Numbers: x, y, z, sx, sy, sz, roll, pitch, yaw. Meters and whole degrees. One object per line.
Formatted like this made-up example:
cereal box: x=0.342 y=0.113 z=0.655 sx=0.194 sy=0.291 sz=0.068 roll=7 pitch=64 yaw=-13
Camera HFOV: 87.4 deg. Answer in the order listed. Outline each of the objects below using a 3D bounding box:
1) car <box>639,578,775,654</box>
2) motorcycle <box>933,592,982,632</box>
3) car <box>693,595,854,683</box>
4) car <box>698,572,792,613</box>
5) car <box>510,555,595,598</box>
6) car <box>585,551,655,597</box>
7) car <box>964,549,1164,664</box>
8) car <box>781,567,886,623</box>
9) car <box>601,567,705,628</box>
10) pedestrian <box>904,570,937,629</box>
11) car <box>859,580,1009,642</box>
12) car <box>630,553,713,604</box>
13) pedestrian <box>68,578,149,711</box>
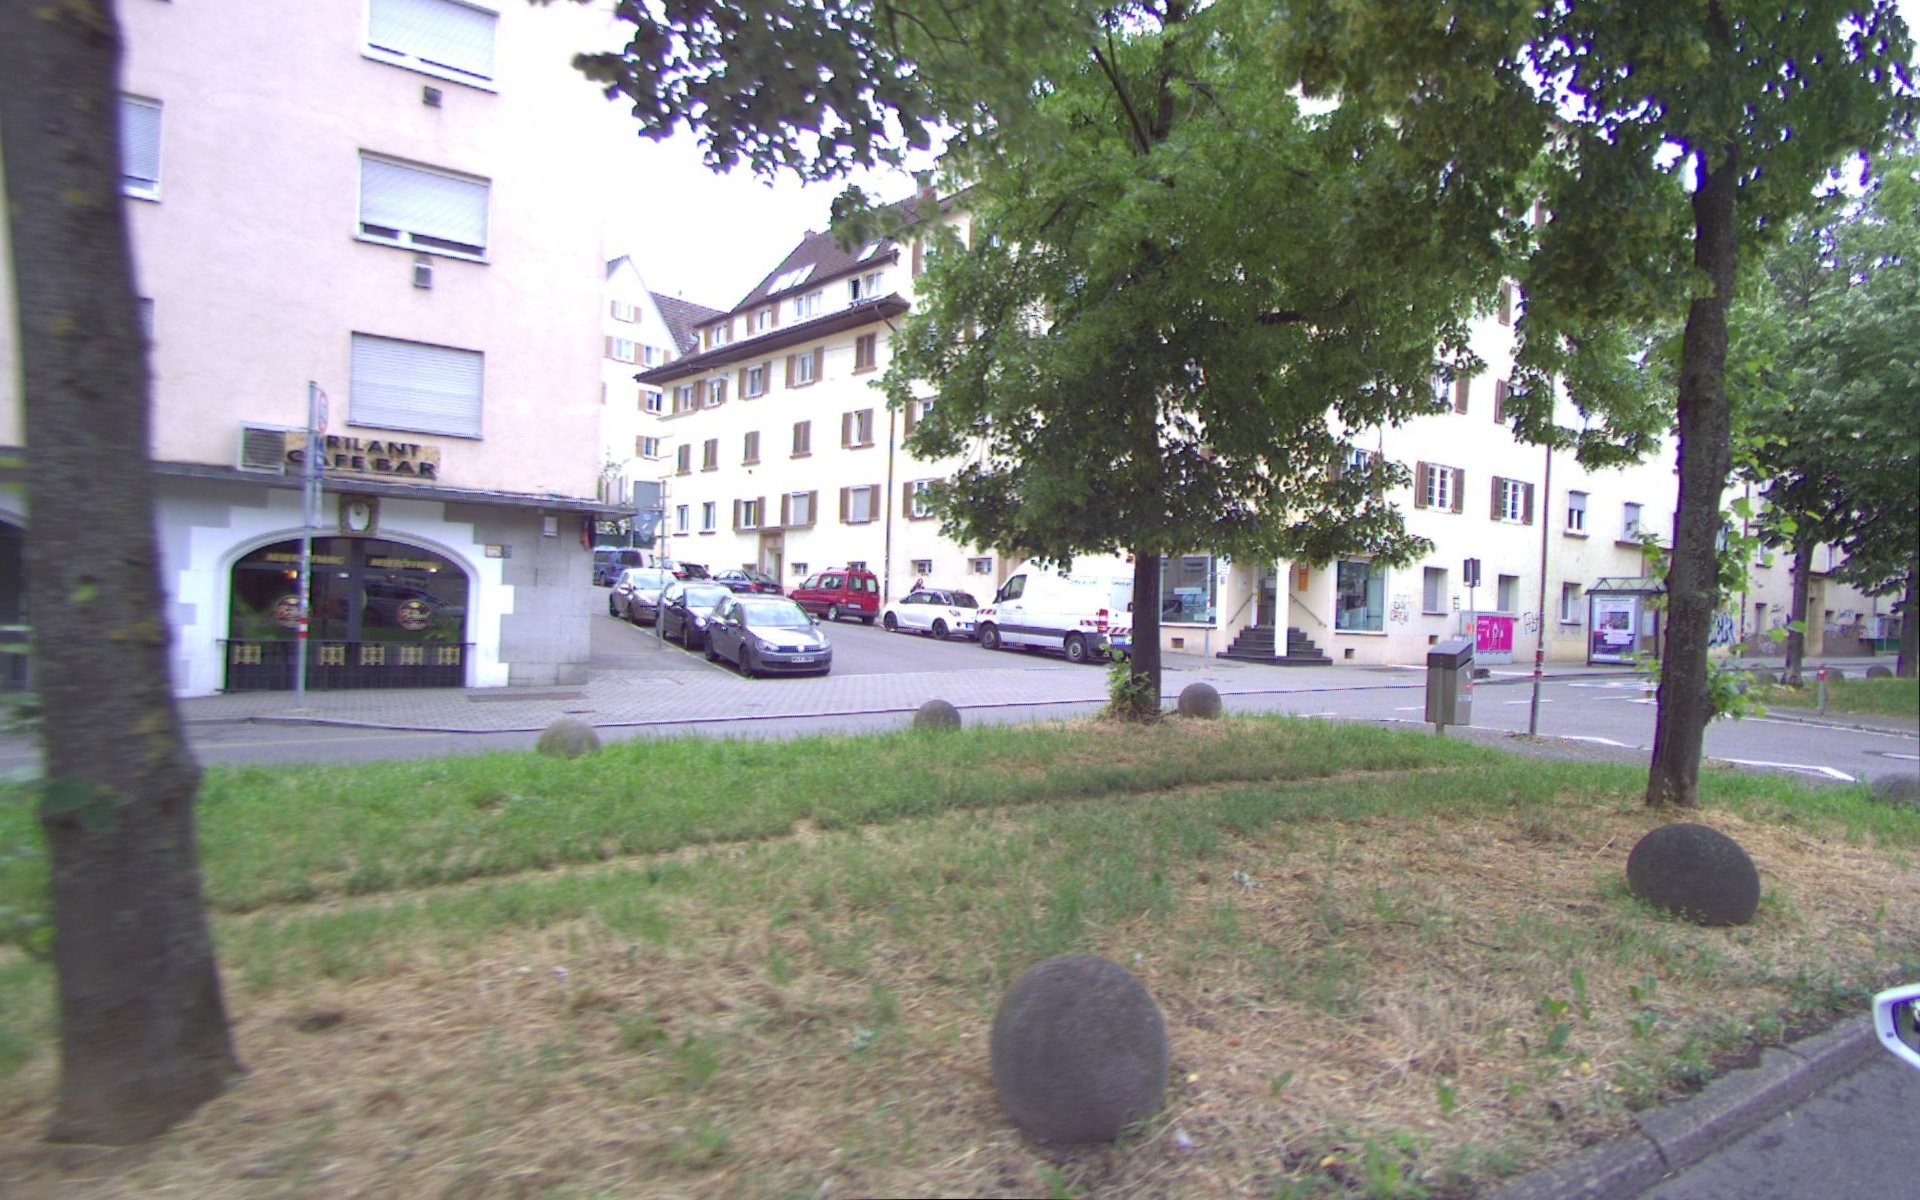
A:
car: x=-6.340 y=0.353 z=24.894 sx=1.980 sy=1.439 sz=3.960 roll=1 pitch=4 yaw=-35
motorcycle: x=-0.106 y=0.399 z=35.027 sx=0.678 sy=1.352 sz=1.843 roll=1 pitch=1 yaw=-39
car: x=-3.991 y=0.715 z=20.870 sx=2.023 sy=1.439 sz=4.268 roll=0 pitch=3 yaw=-29
car: x=-8.430 y=-0.299 z=39.253 sx=1.984 sy=1.483 sz=3.954 roll=1 pitch=1 yaw=-40
car: x=-14.925 y=-0.871 z=36.674 sx=1.981 sy=1.461 sz=3.958 roll=1 pitch=1 yaw=-36
car: x=-16.189 y=-1.248 z=47.702 sx=1.981 sy=2.040 sz=3.958 roll=1 pitch=1 yaw=-37
car: x=2.655 y=0.106 z=26.794 sx=2.161 sy=2.773 sz=5.124 roll=1 pitch=1 yaw=-42
car: x=-4.479 y=-0.197 z=35.245 sx=1.792 sy=1.848 sz=3.954 roll=1 pitch=1 yaw=-40
car: x=-9.036 y=-0.105 z=29.354 sx=1.883 sy=1.439 sz=4.006 roll=1 pitch=4 yaw=-33
pedestrian: x=-1.385 y=-0.017 z=35.089 sx=0.809 sy=2.040 sz=0.807 roll=1 pitch=1 yaw=-32
car: x=-0.874 y=0.299 z=31.063 sx=1.986 sy=1.658 sz=4.710 roll=1 pitch=2 yaw=-43
car: x=-12.352 y=-0.909 z=42.918 sx=1.984 sy=2.040 sz=3.954 roll=1 pitch=1 yaw=-40
pedestrian: x=-11.160 y=0.568 z=13.186 sx=0.692 sy=1.688 sz=0.530 roll=1 pitch=0 yaw=-30
